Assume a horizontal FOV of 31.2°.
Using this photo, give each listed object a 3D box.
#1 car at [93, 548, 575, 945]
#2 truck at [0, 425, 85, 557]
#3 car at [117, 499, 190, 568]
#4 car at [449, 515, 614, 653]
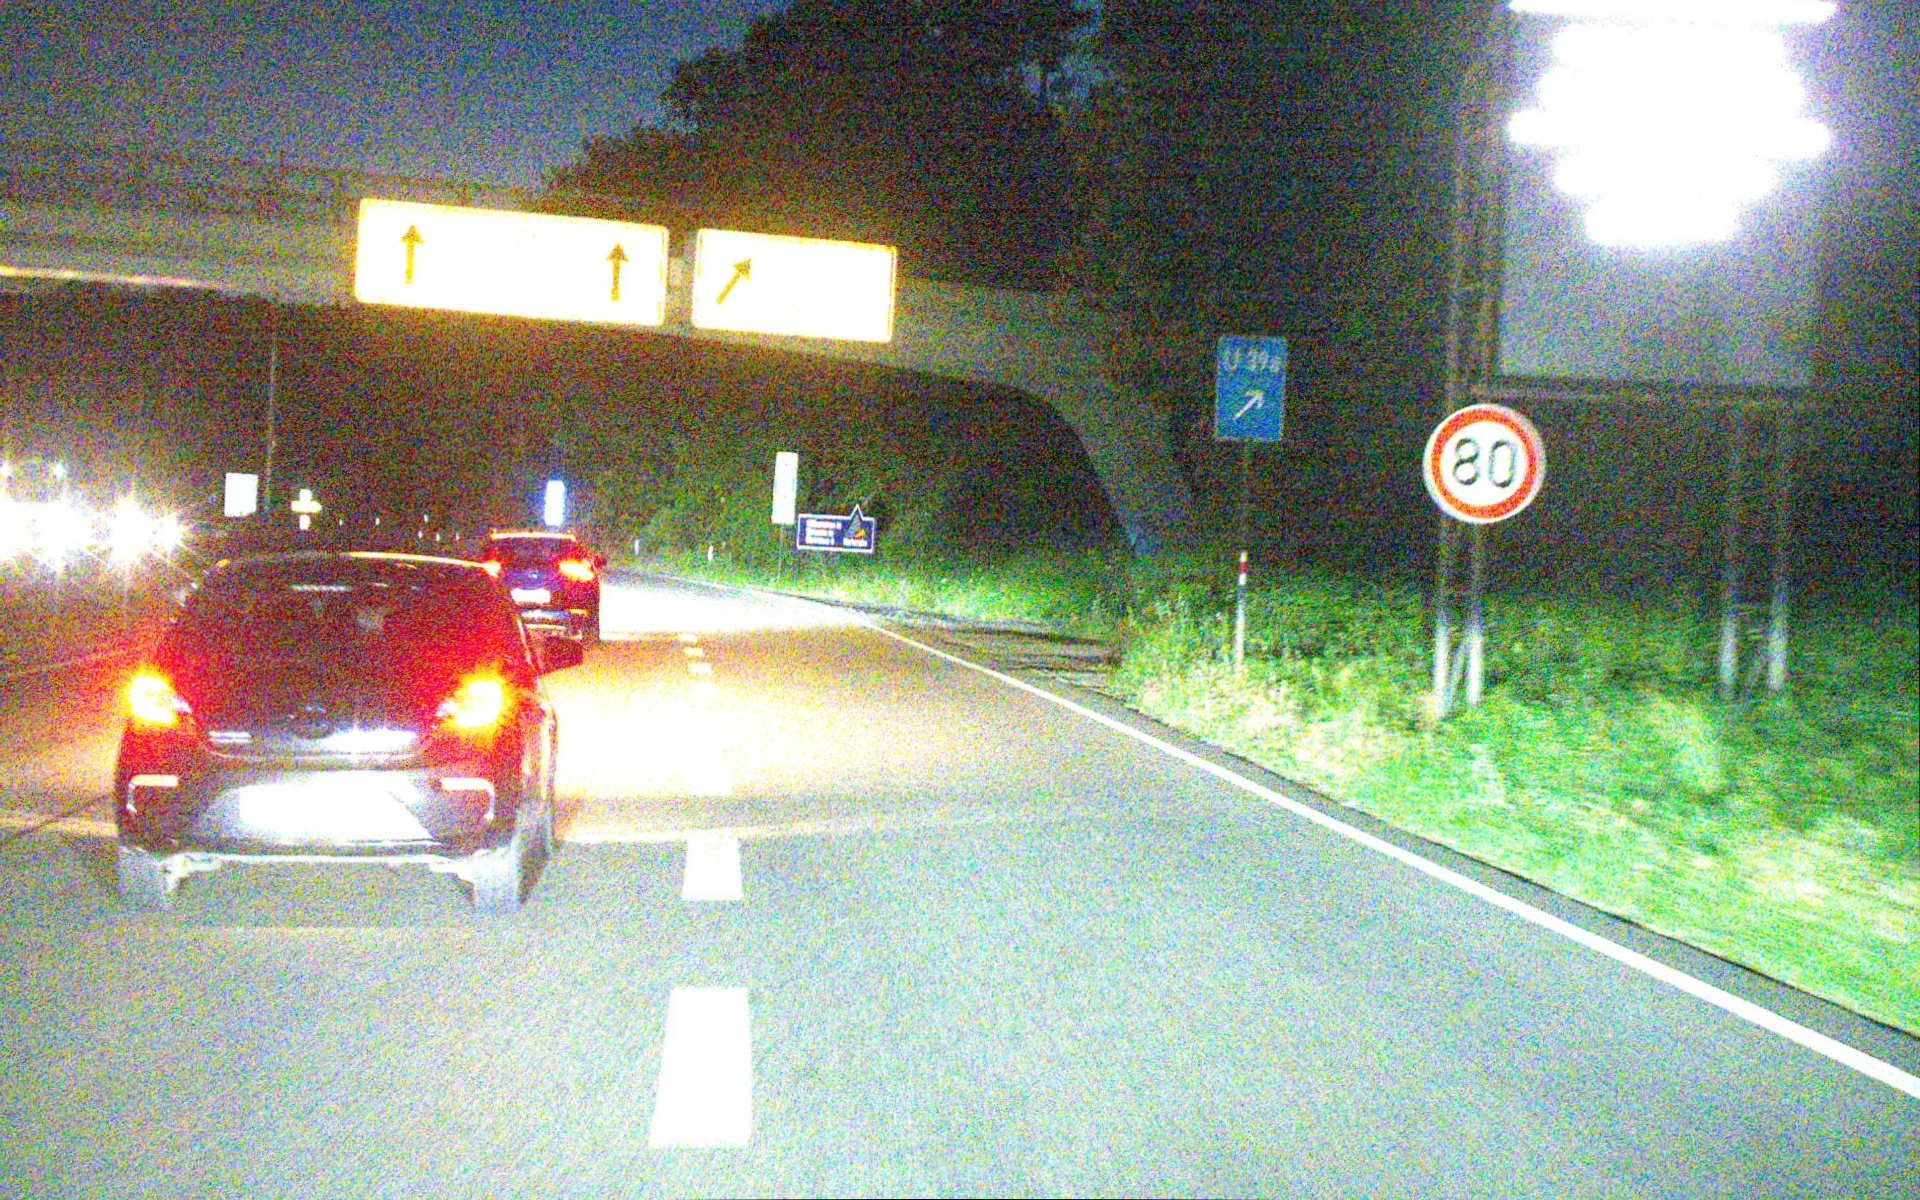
[{"bbox_3d":[-2.629,0.540,15.222,1.588,1.503,4.001,1,1,-3],"label":"car"},{"bbox_3d":[-32.075,-3.761,119.707,2.625,4.218,8.598,5,0,-14],"label":"truck"},{"bbox_3d":[-28.789,-2.355,122.794,1.993,2.259,4.001,5,0,-8],"label":"car"},{"bbox_3d":[-5.879,-0.253,47.533,1.906,1.692,4.001,4,1,-4],"label":"car"}]
